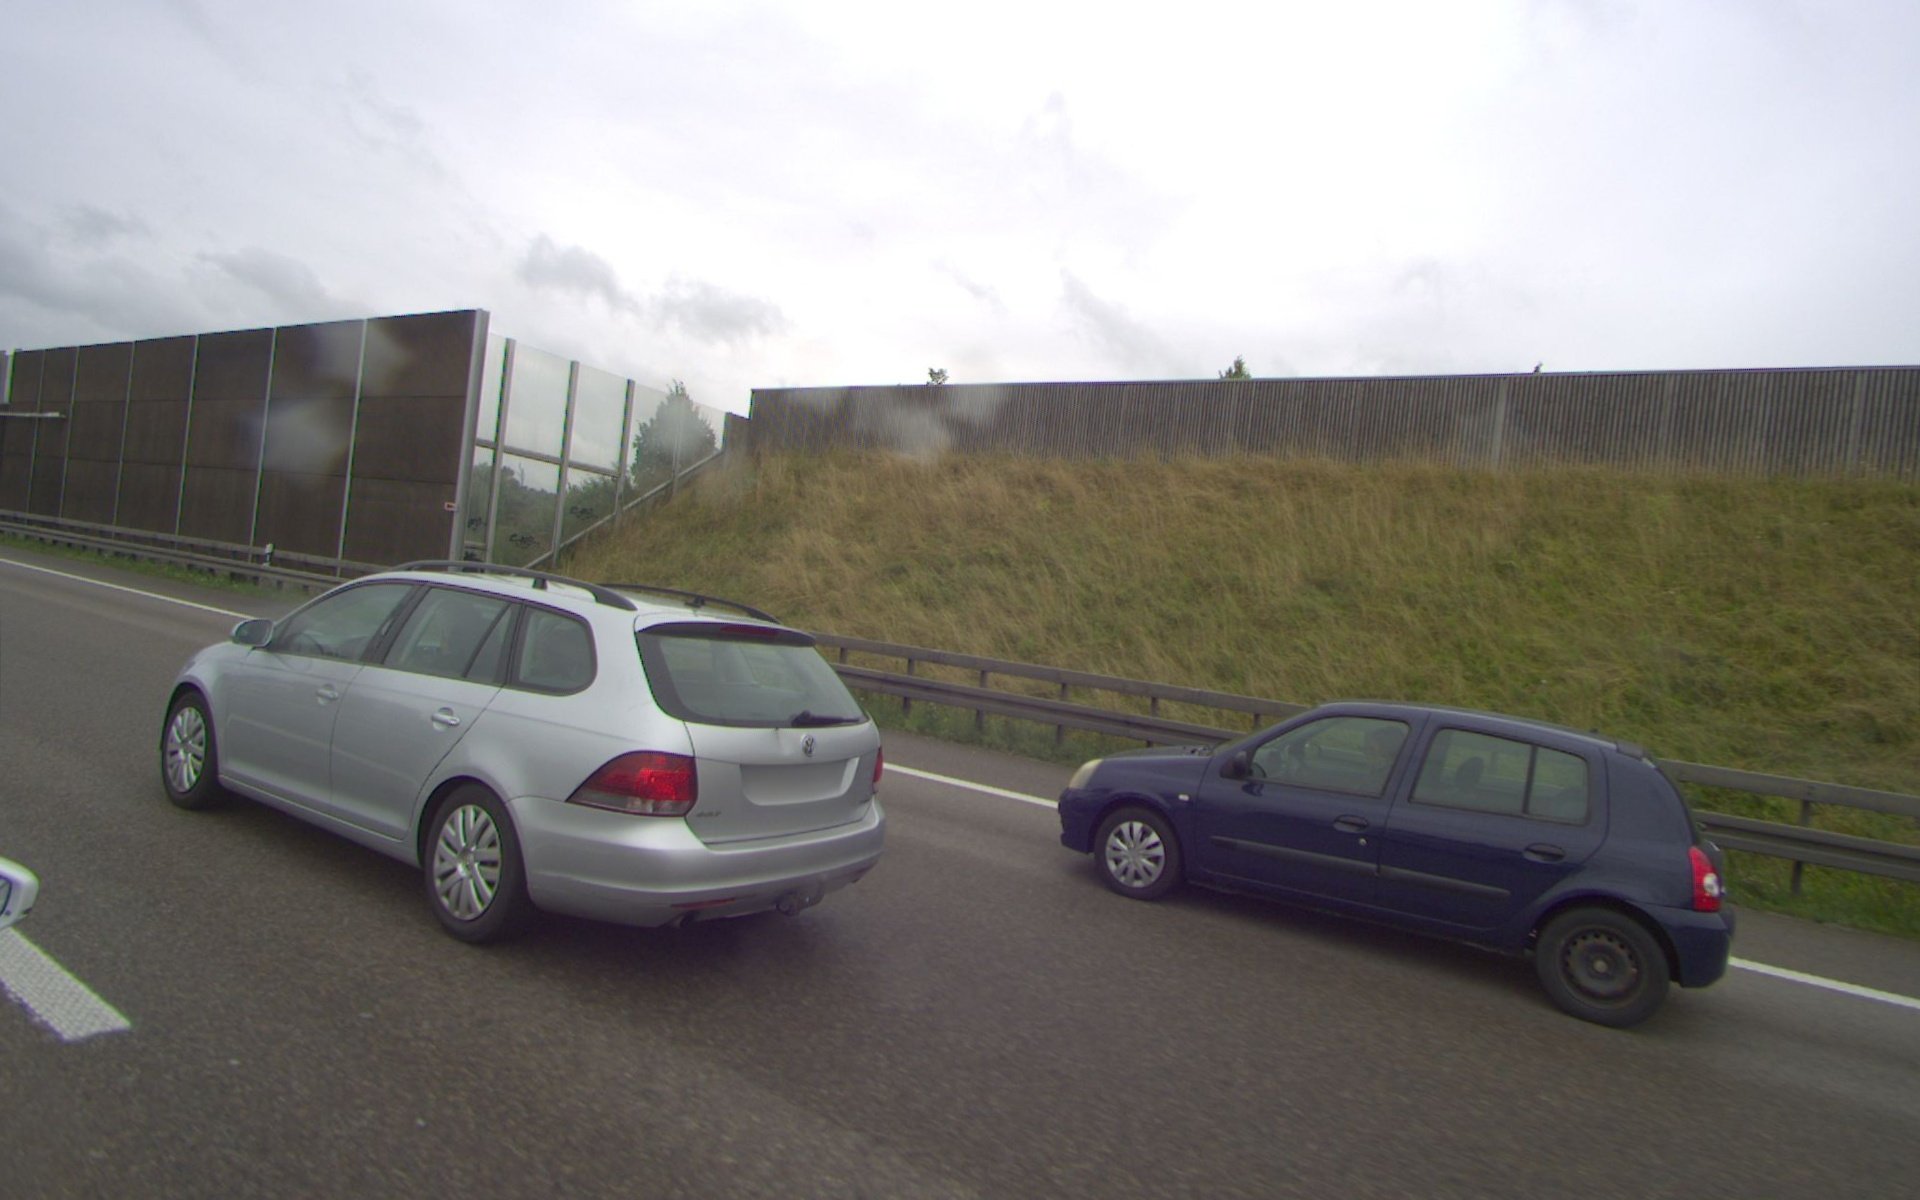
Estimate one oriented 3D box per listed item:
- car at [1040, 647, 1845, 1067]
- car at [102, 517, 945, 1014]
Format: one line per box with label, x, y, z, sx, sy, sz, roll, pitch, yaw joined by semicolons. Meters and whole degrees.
car;2.638;1.265;6.161;3.811;1.417;1.706;6;-2;32
car;-2.475;0.528;5.288;4.442;1.442;1.744;7;-1;32
